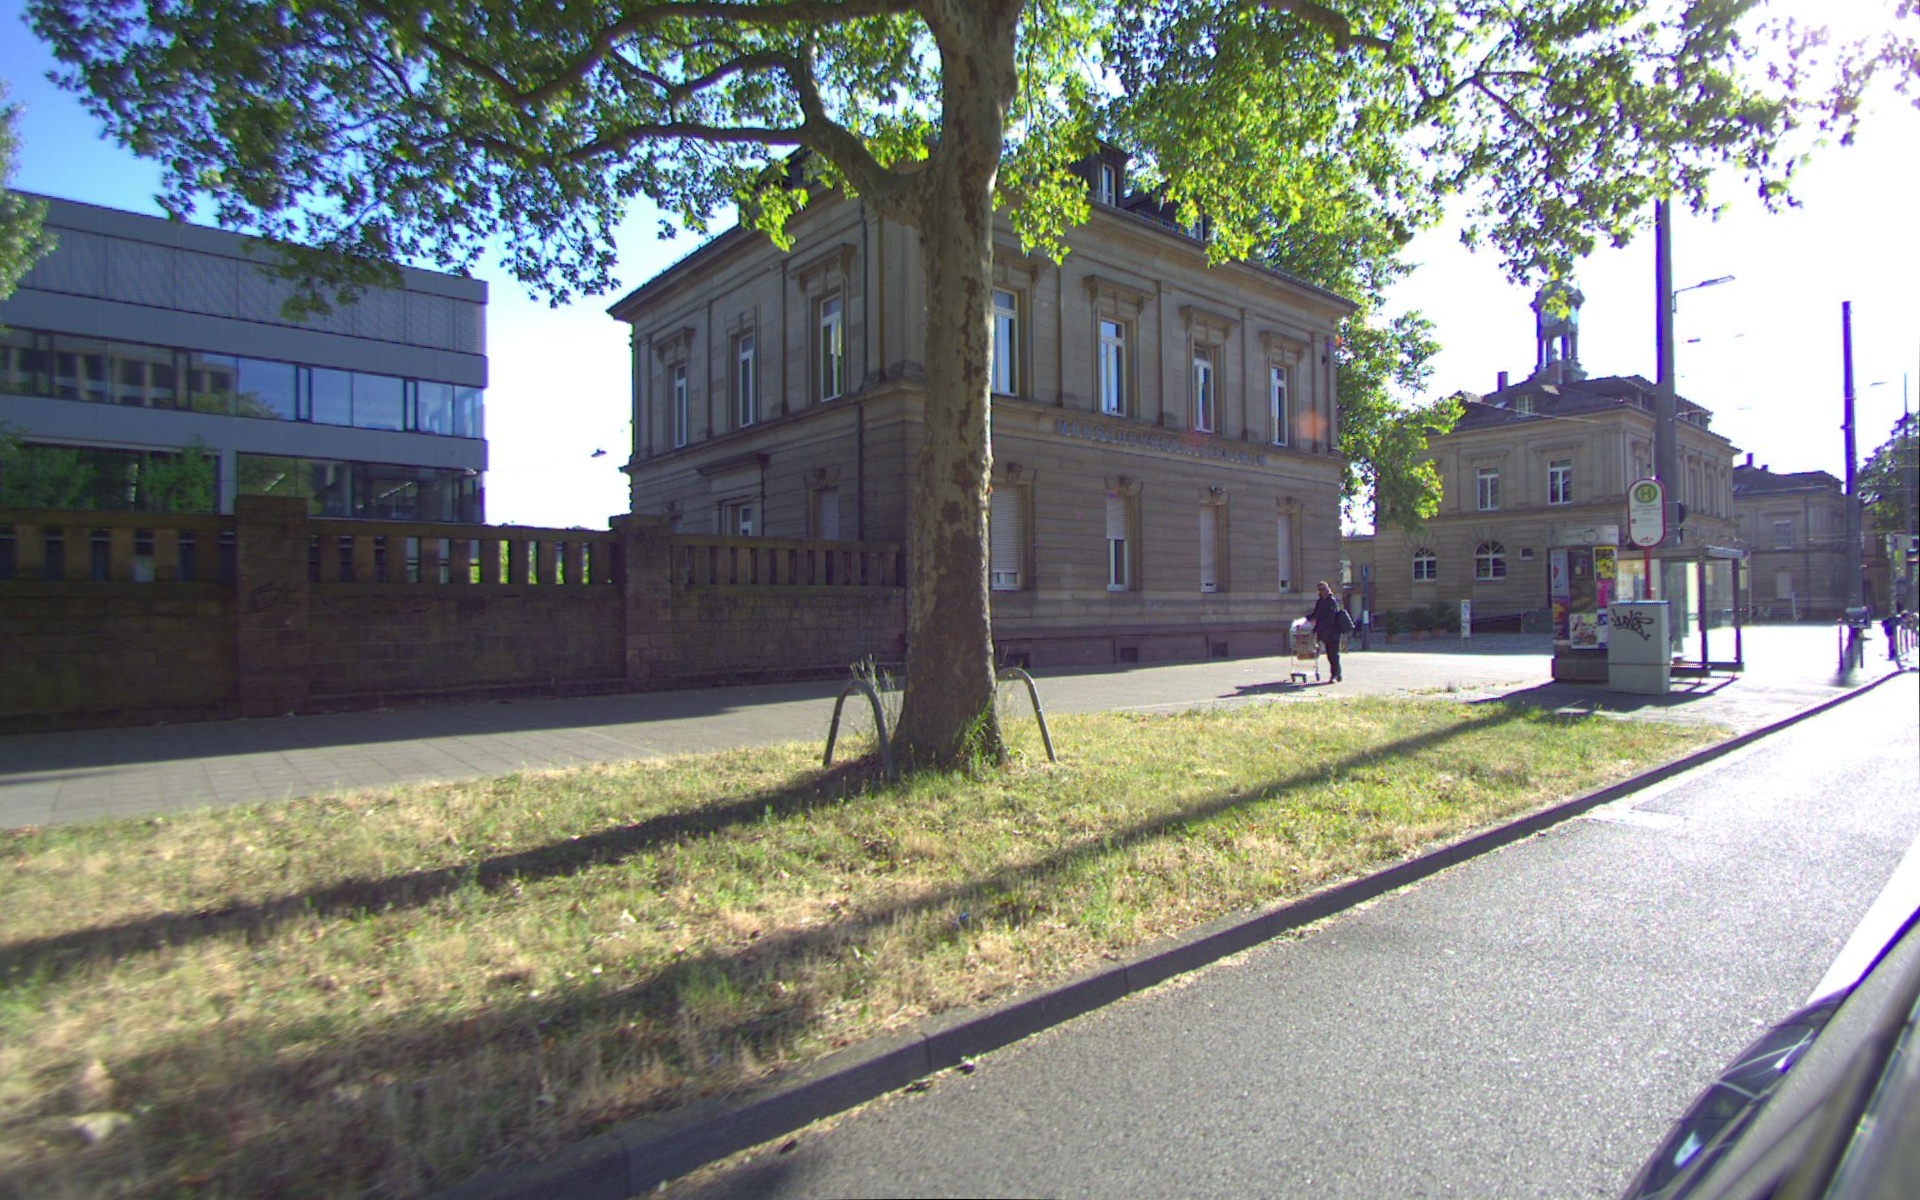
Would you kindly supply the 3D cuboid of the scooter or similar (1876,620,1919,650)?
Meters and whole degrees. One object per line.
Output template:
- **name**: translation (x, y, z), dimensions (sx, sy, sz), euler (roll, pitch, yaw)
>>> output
- **scooter or similar**: translation (26.588, 0.986, 28.581), dimensions (0.260, 0.822, 1.022), euler (0, -1, -40)

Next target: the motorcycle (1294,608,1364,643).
- **motorcycle**: translation (12.921, 0.886, 35.513), dimensions (0.869, 1.174, 2.227), euler (-1, -1, -33)

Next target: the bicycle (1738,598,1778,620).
- **bicycle**: translation (44.561, 0.474, 56.520), dimensions (0.679, 1.196, 1.648), euler (0, 0, -42)

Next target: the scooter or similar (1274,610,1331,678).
- **scooter or similar**: translation (6.151, 0.773, 18.171), dimensions (0.718, 1.170, 0.748), euler (1, 1, 43)

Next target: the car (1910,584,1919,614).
- **car**: translation (67.892, -0.090, 70.488), dimensions (3.927, 2.072, 1.833), euler (-1, -1, -37)

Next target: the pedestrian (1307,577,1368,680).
- **pedestrian**: translation (6.697, 0.480, 17.948), dimensions (0.769, 1.766, 0.784), euler (1, 1, 44)

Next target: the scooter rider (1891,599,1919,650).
- **scooter rider**: translation (26.757, 0.690, 28.514), dimensions (0.589, 1.415, 0.702), euler (0, -1, -40)
